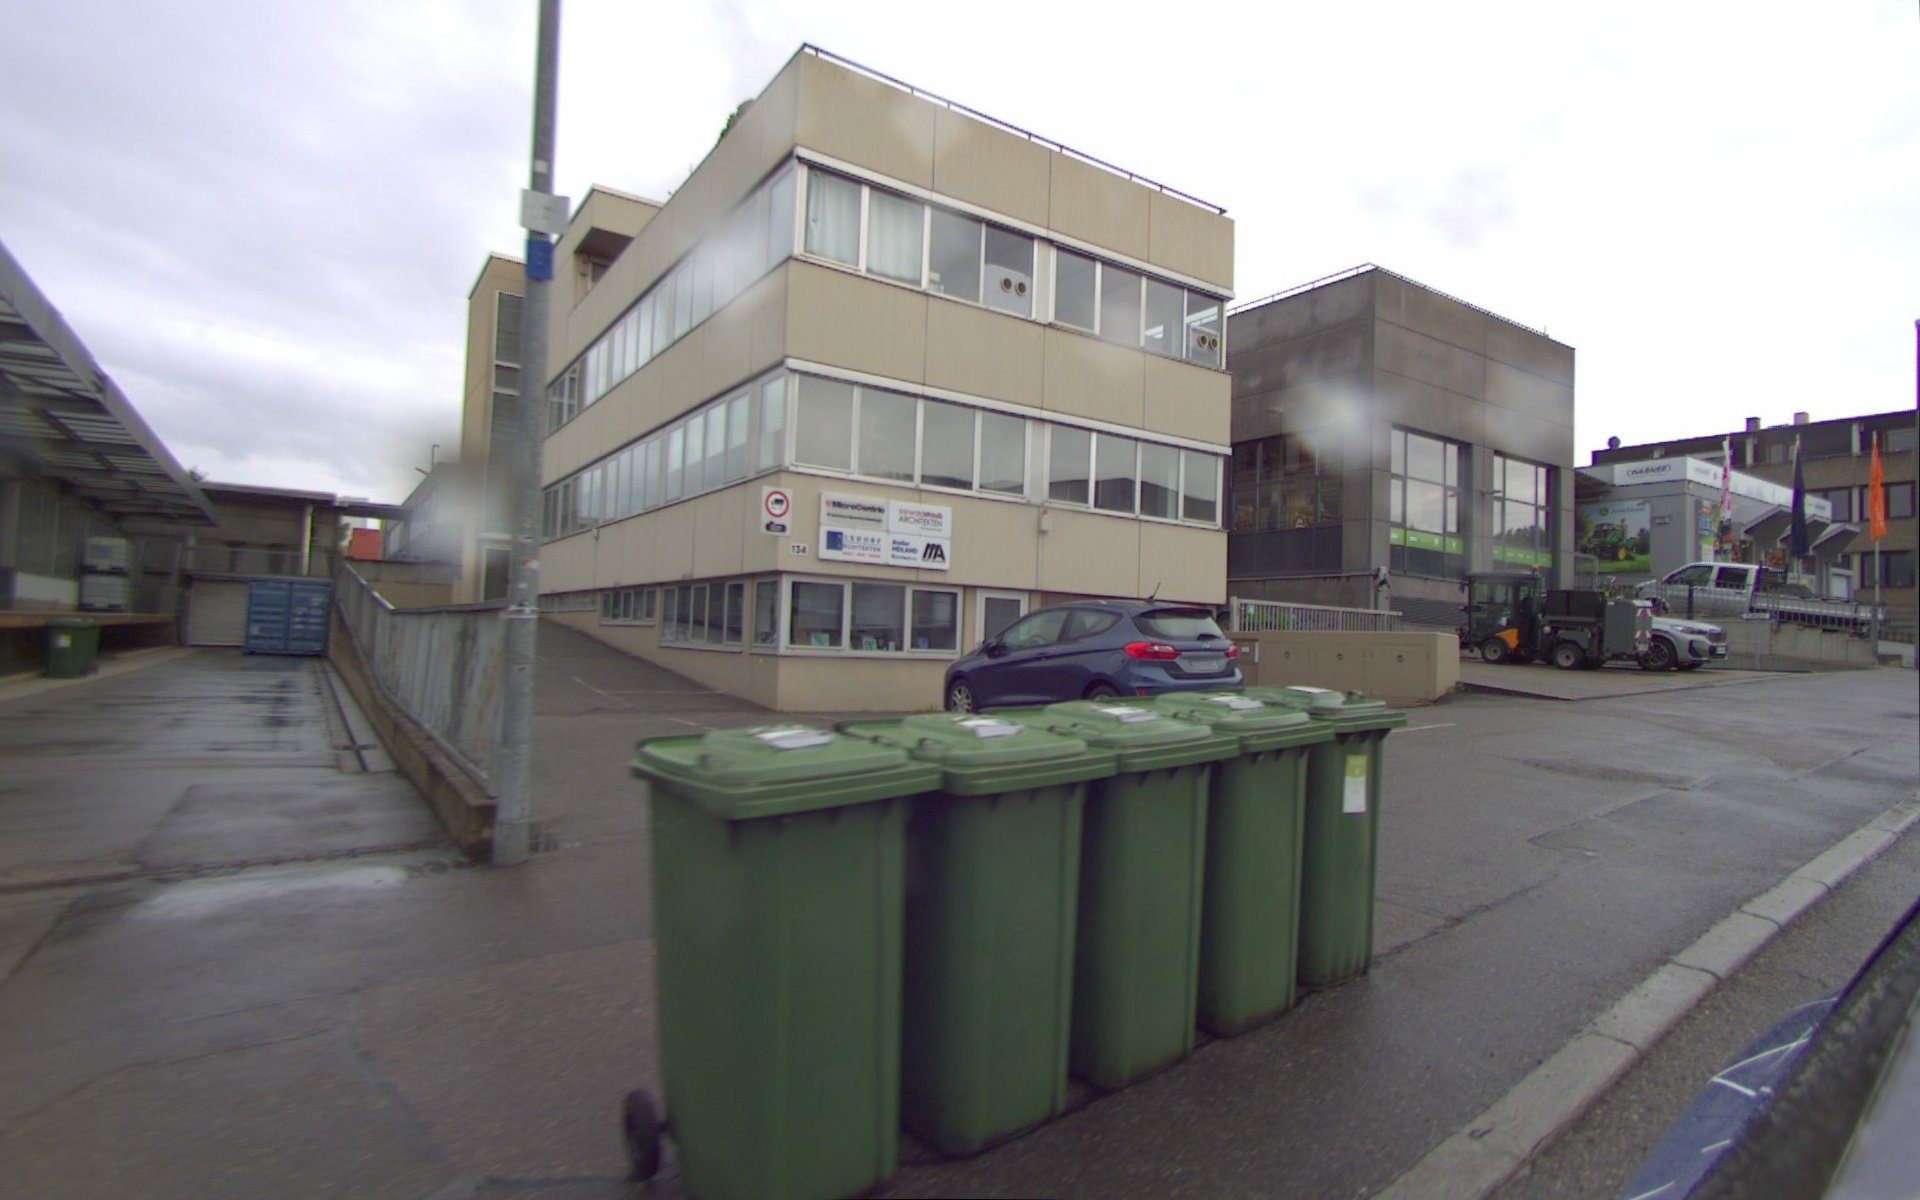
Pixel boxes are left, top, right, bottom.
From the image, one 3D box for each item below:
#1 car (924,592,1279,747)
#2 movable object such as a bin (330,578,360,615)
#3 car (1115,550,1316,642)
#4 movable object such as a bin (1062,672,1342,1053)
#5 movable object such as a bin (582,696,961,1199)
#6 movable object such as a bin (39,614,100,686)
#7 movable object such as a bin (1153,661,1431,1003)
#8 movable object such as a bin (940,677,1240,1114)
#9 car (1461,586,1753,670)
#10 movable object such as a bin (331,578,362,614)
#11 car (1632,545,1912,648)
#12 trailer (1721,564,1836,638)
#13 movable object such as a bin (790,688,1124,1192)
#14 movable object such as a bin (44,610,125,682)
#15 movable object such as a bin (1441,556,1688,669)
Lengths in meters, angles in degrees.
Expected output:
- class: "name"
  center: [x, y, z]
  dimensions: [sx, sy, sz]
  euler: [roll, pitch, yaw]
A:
- class: "car"
  center: [1.405, 0.693, 11.436]
  dimensions: [1.786, 1.401, 3.907]
  euler: [-1, -1, -34]
- class: "movable object such as a bin"
  center: [-23.534, -0.141, 38.735]
  dimensions: [0.920, 1.412, 1.327]
  euler: [-1, 0, -34]
- class: "car"
  center: [6.464, -0.168, 26.168]
  dimensions: [1.862, 1.873, 4.912]
  euler: [5, 2, -34]
- class: "movable object such as a bin"
  center: [0.839, 0.838, 3.581]
  dimensions: [0.573, 1.089, 0.777]
  euler: [0, 0, -39]
- class: "movable object such as a bin"
  center: [-0.487, 0.834, 2.500]
  dimensions: [0.613, 1.093, 0.803]
  euler: [0, 0, -39]
- class: "movable object such as a bin"
  center: [-16.369, 0.902, 18.619]
  dimensions: [0.669, 1.280, 0.998]
  euler: [0, -1, -32]
- class: "movable object such as a bin"
  center: [1.308, 0.831, 4.023]
  dimensions: [0.696, 1.106, 0.808]
  euler: [0, 0, -39]
- class: "movable object such as a bin"
  center: [0.394, 0.837, 3.232]
  dimensions: [0.532, 1.104, 0.811]
  euler: [0, 0, -39]
- class: "car"
  center: [14.045, 0.525, 22.318]
  dimensions: [1.888, 1.634, 5.109]
  euler: [1, 0, -34]
- class: "movable object such as a bin"
  center: [-24.660, -0.148, 40.676]
  dimensions: [0.973, 1.412, 1.327]
  euler: [-1, 0, -34]
- class: "car"
  center: [21.738, -0.207, 27.393]
  dimensions: [2.178, 2.036, 5.327]
  euler: [0, 8, -31]
- class: "trailer"
  center: [28.610, 0.062, 35.355]
  dimensions: [4.224, 2.447, 1.894]
  euler: [1, -1, -33]
- class: "movable object such as a bin"
  center: [-0.030, 0.843, 2.880]
  dimensions: [0.571, 1.090, 0.810]
  euler: [0, 0, -39]
- class: "movable object such as a bin"
  center: [-16.836, 0.865, 19.483]
  dimensions: [1.013, 1.339, 0.878]
  euler: [0, -1, -30]
- class: "movable object such as a bin"
  center: [12.562, 0.221, 21.314]
  dimensions: [1.448, 2.137, 4.270]
  euler: [0, 0, -33]
